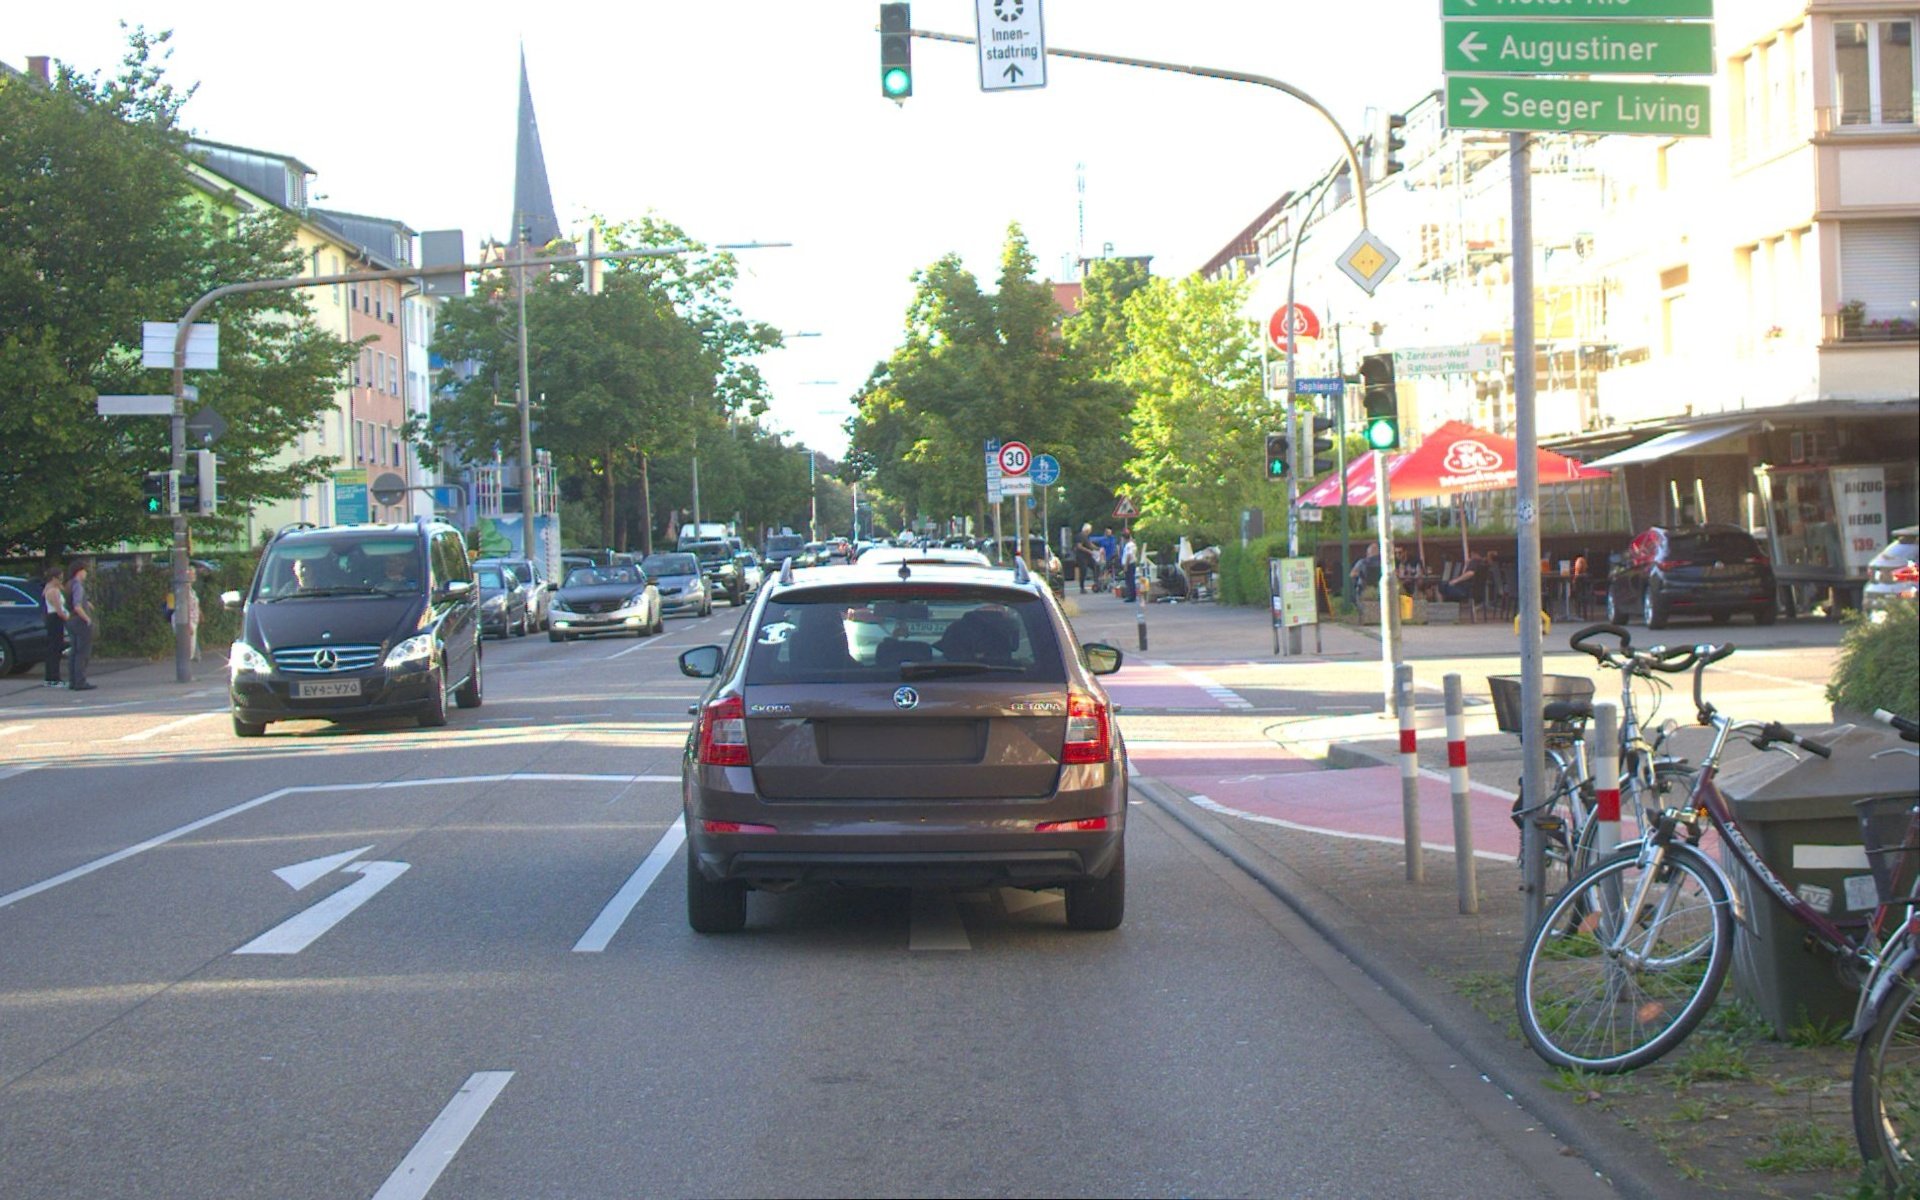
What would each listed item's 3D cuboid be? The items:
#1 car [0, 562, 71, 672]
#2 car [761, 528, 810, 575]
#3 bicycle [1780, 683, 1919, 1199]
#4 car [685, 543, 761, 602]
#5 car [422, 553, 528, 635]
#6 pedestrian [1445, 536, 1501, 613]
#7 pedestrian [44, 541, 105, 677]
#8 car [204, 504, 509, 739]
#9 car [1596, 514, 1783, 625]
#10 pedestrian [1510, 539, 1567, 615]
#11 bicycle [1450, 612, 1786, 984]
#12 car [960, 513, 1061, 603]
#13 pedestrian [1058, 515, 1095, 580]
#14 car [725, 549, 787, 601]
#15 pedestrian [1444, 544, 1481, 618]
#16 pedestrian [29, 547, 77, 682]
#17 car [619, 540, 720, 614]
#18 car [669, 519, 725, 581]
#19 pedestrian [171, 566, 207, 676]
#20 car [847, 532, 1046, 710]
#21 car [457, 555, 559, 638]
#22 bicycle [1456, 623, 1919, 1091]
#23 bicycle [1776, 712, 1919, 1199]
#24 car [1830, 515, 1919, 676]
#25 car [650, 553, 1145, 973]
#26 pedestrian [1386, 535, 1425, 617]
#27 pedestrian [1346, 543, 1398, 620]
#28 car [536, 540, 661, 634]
[{"bbox_3d":[-15.262,0.257,49.101,4.634,1.530,1.862,-1,1,-1],"label":"car"},{"bbox_3d":[-7.840,-2.187,154.933,1.993,2.007,4.000,-2,1,-1],"label":"car"},{"bbox_3d":[2.430,0.758,8.136,0.619,1.048,1.571,-1,1,25],"label":"bicycle"},{"bbox_3d":[-6.396,-0.769,93.030,1.787,1.565,4.000,0,1,0],"label":"car"},{"bbox_3d":[-9.178,-0.131,65.214,1.522,1.452,3.585,-2,1,-1],"label":"car"},{"bbox_3d":[8.142,-0.403,54.594,0.729,1.194,0.855,-2,1,0],"label":"pedestrian"},{"bbox_3d":[-11.882,0.117,46.142,0.616,1.791,0.504,-2,1,0],"label":"pedestrian"},{"bbox_3d":[-5.544,0.146,32.202,1.993,1.902,4.964,-4,1,-2],"label":"car"},{"bbox_3d":[10.434,-0.450,49.456,1.776,1.481,4.000,-2,1,0],"label":"car"},{"bbox_3d":[9.231,-0.372,54.872,0.729,1.194,0.855,-2,1,0],"label":"pedestrian"},{"bbox_3d":[2.253,0.637,12.014,0.501,1.143,1.959,-4,1,-7],"label":"bicycle"},{"bbox_3d":[1.051,-0.856,69.602,1.993,1.766,4.000,0,1,2],"label":"car"},{"bbox_3d":[3.106,-1.406,91.423,0.675,1.698,0.800,-1,1,25],"label":"pedestrian"},{"bbox_3d":[-6.447,-0.811,108.945,1.704,1.545,4.002,-2,1,-1],"label":"car"},{"bbox_3d":[8.124,-0.315,55.601,0.505,1.172,0.428,-2,1,-1],"label":"pedestrian"},{"bbox_3d":[-12.267,0.191,46.515,0.449,1.791,0.504,-2,1,0],"label":"pedestrian"},{"bbox_3d":[-6.731,-0.557,79.936,1.993,1.605,4.000,-2,1,0],"label":"car"},{"bbox_3d":[-10.844,-2.053,141.789,1.993,2.469,4.000,-2,1,-1],"label":"car"},{"bbox_3d":[-10.628,0.286,47.386,0.301,1.499,0.640,-2,1,0],"label":"pedestrian"},{"bbox_3d":[-0.132,0.154,32.210,1.737,1.565,4.000,0,1,0],"label":"car"},{"bbox_3d":[-9.278,-0.099,70.816,1.560,1.612,4.000,-2,1,0],"label":"car"},{"bbox_3d":[2.352,0.676,9.504,1.835,1.153,0.683,-4,1,6],"label":"bicycle"},{"bbox_3d":[2.504,0.742,6.621,1.687,1.103,0.517,-4,1,6],"label":"bicycle"},{"bbox_3d":[10.941,-0.117,34.333,3.987,1.546,1.806,-2,1,-1],"label":"car"},{"bbox_3d":[-0.285,0.558,14.562,1.773,1.484,4.311,-1,1,-2],"label":"car"},{"bbox_3d":[7.172,-0.384,55.367,0.499,1.298,0.507,-2,1,-4],"label":"pedestrian"},{"bbox_3d":[6.523,-0.304,54.471,0.677,1.194,0.855,-2,1,0],"label":"pedestrian"},{"bbox_3d":[-6.492,-0.267,62.080,1.830,1.574,4.000,-2,1,-1],"label":"car"}]
